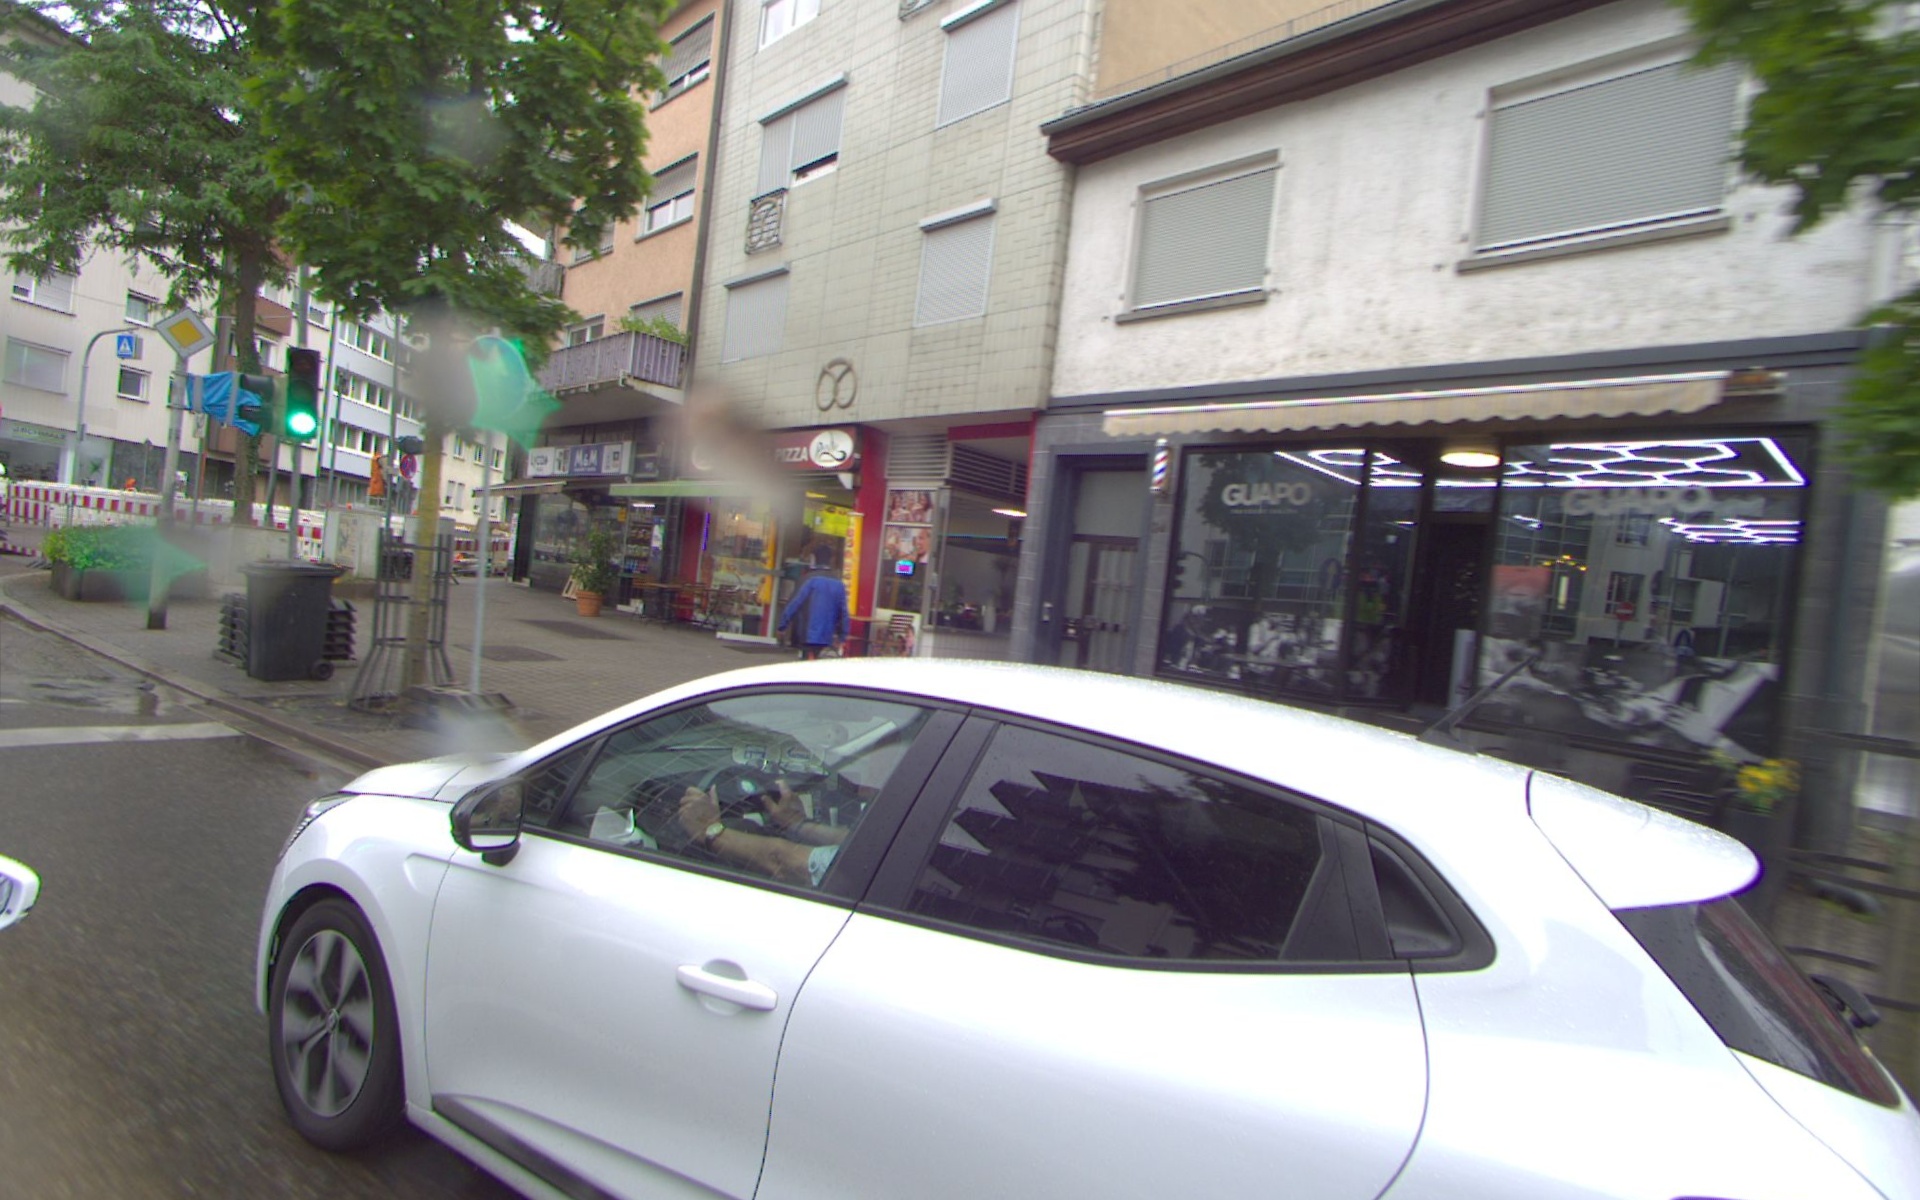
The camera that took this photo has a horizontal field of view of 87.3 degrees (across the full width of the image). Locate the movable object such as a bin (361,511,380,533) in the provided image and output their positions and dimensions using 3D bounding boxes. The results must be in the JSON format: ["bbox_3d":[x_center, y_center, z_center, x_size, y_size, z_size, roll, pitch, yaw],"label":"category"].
[{"bbox_3d":[-30.786,-4.074,52.525,0.521,1.060,0.539,7,-1,-1],"label":"movable object such as a bin"}]

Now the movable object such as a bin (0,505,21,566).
[{"bbox_3d":[-15.671,-1.057,16.344,0.522,0.942,0.420,9,4,29],"label":"movable object such as a bin"}]

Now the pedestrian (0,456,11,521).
[{"bbox_3d":[-28.902,-3.361,29.814,0.647,1.904,0.990,4,2,-14],"label":"pedestrian"}]

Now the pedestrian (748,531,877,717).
[{"bbox_3d":[-1.537,0.241,10.415,0.959,1.816,0.899,3,3,-29],"label":"pedestrian"}]

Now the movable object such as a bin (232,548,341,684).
[{"bbox_3d":[-6.128,0.143,9.149,0.655,1.126,0.577,9,4,36],"label":"movable object such as a bin"}]

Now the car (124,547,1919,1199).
[{"bbox_3d":[-0.349,0.775,2.702,3.933,1.422,1.677,7,2,31],"label":"car"}]
